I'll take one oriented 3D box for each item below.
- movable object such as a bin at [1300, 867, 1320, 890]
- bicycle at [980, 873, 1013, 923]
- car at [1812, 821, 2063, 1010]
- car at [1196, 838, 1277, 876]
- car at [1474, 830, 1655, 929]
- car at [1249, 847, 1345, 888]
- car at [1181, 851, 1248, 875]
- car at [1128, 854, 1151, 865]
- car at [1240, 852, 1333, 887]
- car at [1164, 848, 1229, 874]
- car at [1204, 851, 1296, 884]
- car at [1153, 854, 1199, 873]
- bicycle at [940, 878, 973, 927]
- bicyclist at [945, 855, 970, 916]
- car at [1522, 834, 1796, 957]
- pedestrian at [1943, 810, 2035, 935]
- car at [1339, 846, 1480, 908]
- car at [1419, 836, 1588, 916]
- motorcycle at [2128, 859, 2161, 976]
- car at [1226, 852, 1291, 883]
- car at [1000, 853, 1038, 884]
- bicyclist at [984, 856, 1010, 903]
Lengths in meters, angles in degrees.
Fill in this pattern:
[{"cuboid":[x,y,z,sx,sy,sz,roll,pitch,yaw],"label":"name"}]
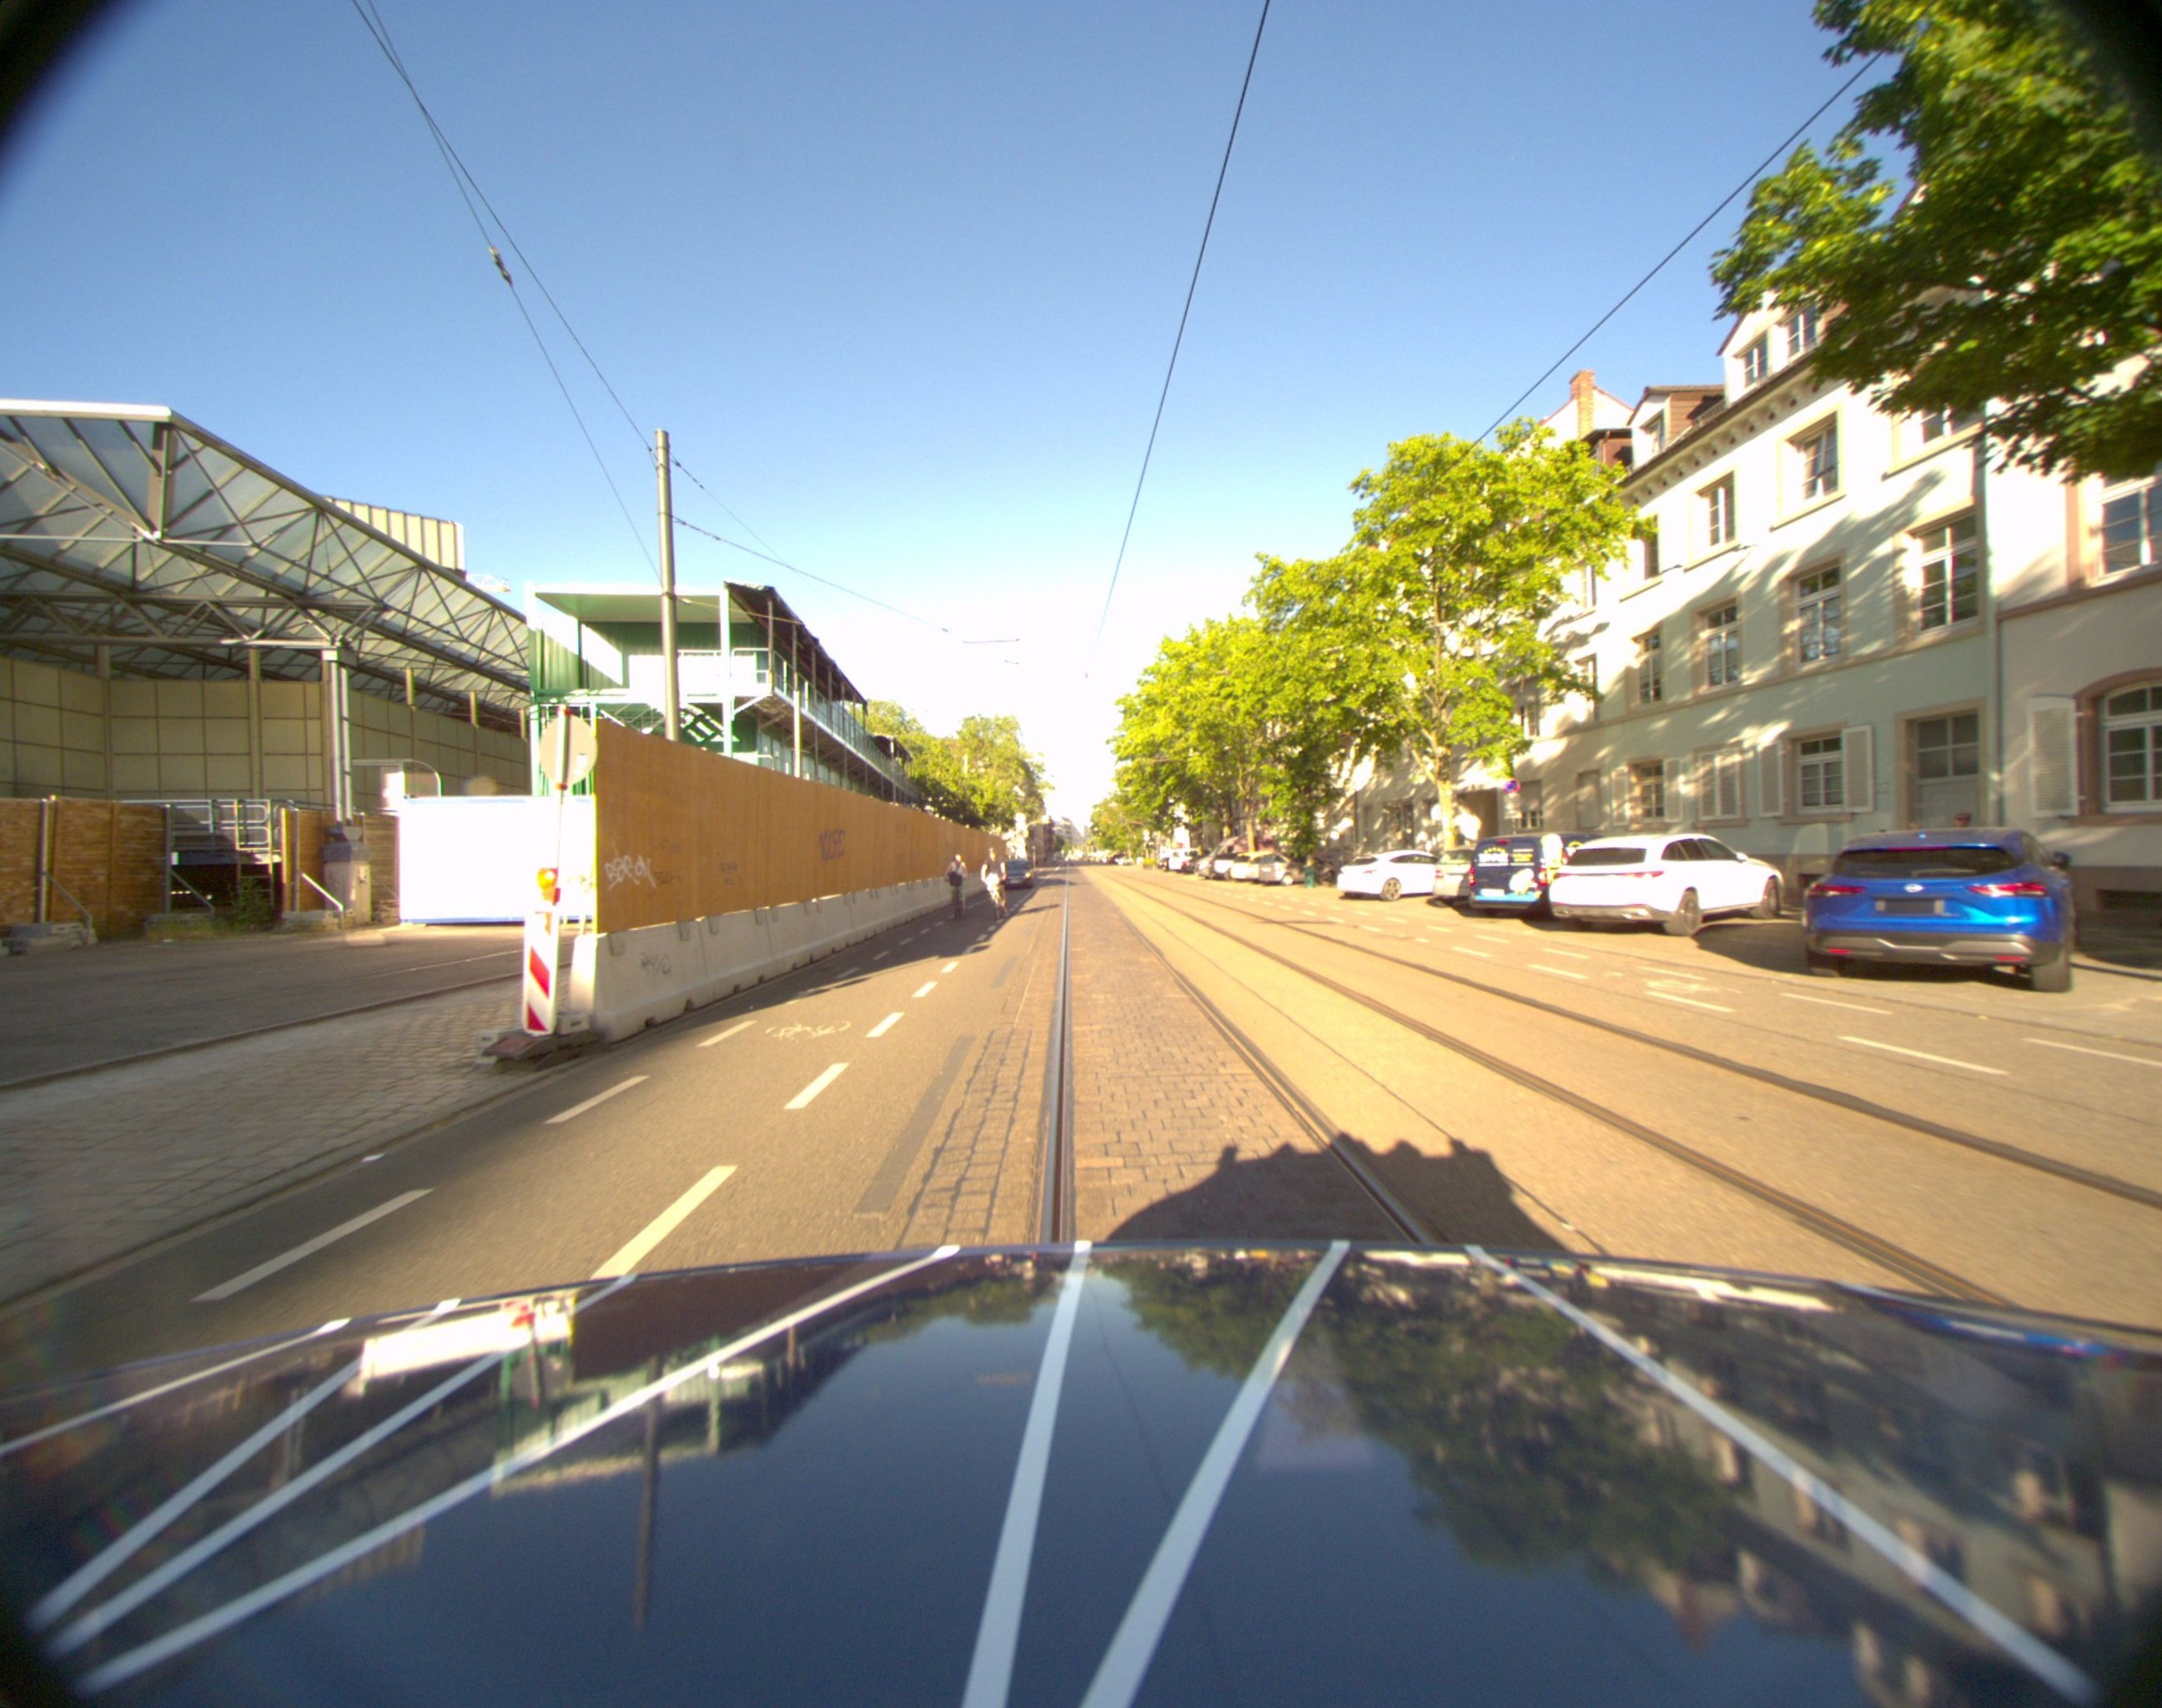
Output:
[{"cuboid":[9.582,1.024,31.774,0.623,0.939,0.670,0,1,-2],"label":"movable object such as a bin"},{"cuboid":[-2.215,1.137,20.156,0.669,1.148,2.275,-3,0,-2],"label":"bicycle"},{"cuboid":[9.938,0.540,8.731,3.908,1.599,1.569,-4,1,-37],"label":"car"},{"cuboid":[9.557,0.194,47.036,4.449,2.105,2.163,-2,0,-3],"label":"car"},{"cuboid":[10.404,0.483,16.354,3.450,1.832,1.729,-3,1,-27],"label":"car"},{"cuboid":[9.967,0.623,35.110,4.003,1.667,1.700,-3,0,-21],"label":"car"},{"cuboid":[10.415,0.688,59.330,4.708,1.567,1.953,-3,0,-5],"label":"car"},{"cuboid":[8.890,0.812,115.595,3.337,1.445,1.496,-3,2,3],"label":"car"},{"cuboid":[10.212,0.745,37.831,4.174,1.543,1.700,-2,1,-16],"label":"car"},{"cuboid":[9.553,0.557,63.023,4.946,2.002,2.071,-2,0,-24],"label":"car"},{"cuboid":[9.804,0.758,44.352,4.842,1.714,2.163,-2,0,-3],"label":"car"},{"cuboid":[8.970,0.890,71.429,4.005,1.549,1.777,-3,1,-31],"label":"car"},{"cuboid":[-3.279,1.245,20.130,0.559,1.120,2.275,-2,0,-3],"label":"bicycle"},{"cuboid":[-3.316,0.825,20.416,0.557,1.603,0.576,-1,1,-3],"label":"bicyclist"},{"cuboid":[10.467,0.606,13.684,4.948,1.784,2.204,-2,1,-31],"label":"car"},{"cuboid":[13.704,0.267,11.482,0.645,1.827,0.624,-1,1,1],"label":"pedestrian"},{"cuboid":[10.143,0.665,23.524,3.650,1.521,1.883,-5,2,-20],"label":"car"},{"cuboid":[10.763,0.521,19.325,4.005,1.647,1.807,-4,0,-29],"label":"car"},{"cuboid":[11.552,0.692,7.358,0.724,1.246,2.605,-1,0,32],"label":"motorcycle"},{"cuboid":[9.631,0.694,41.122,3.380,1.544,1.381,-2,1,-31],"label":"car"},{"cuboid":[-3.400,0.826,42.286,1.750,1.612,4.170,-1,-1,-1],"label":"car"},{"cuboid":[-2.242,0.686,20.381,0.653,1.230,0.353,-1,1,-3],"label":"bicyclist"}]
